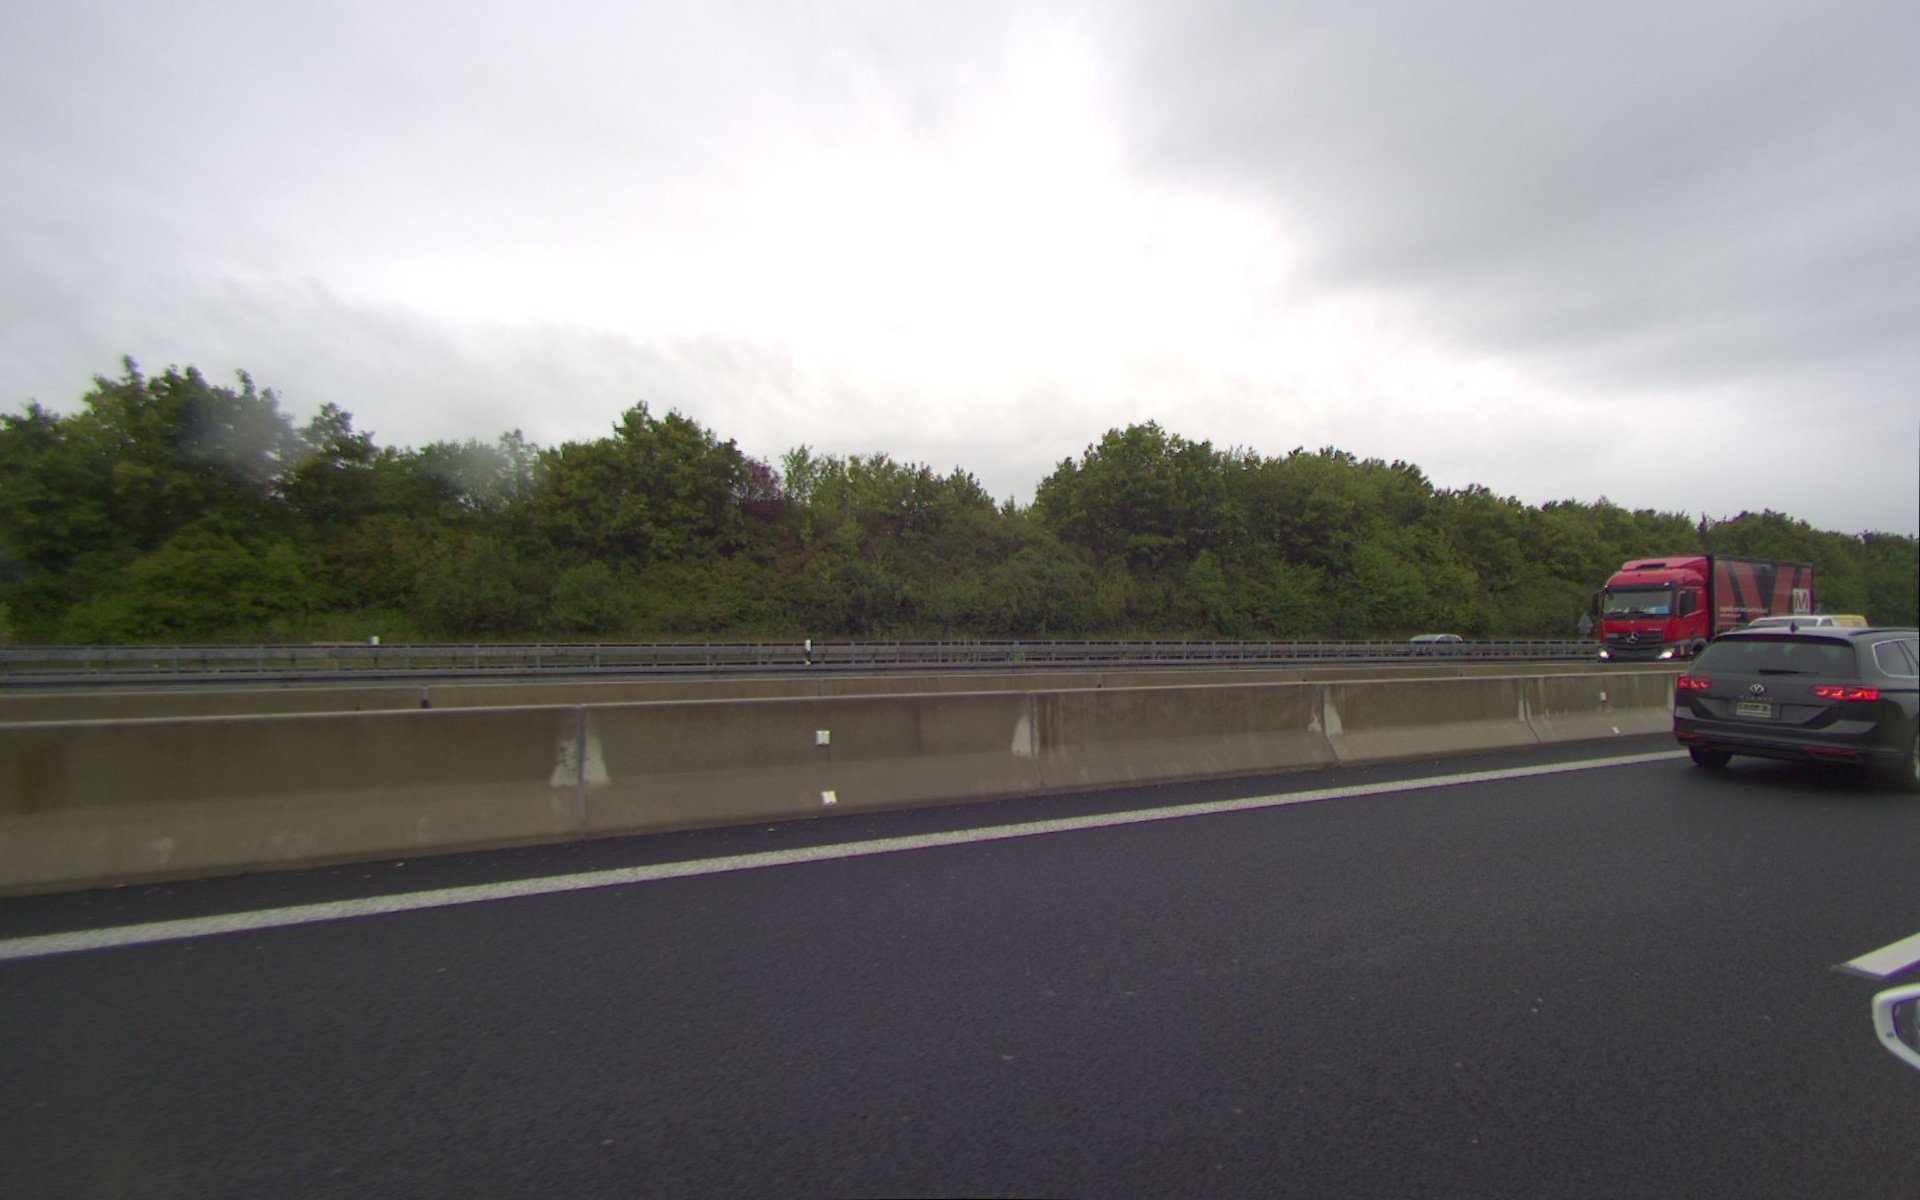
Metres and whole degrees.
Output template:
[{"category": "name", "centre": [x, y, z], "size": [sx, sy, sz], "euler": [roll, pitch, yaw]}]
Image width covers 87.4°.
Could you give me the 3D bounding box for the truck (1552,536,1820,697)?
[{"category": "truck", "centre": [24.740, 0.579, 34.009], "size": [10.360, 4.796, 3.384], "euler": [1, 0, -30]}]

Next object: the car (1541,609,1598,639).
[{"category": "car", "centre": [42.335, 1.666, 69.764], "size": [3.952, 2.040, 1.742], "euler": [1, -1, -30]}]

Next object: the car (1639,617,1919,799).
[{"category": "car", "centre": [9.177, 0.959, 10.264], "size": [4.744, 1.478, 1.779], "euler": [1, 0, -29]}]

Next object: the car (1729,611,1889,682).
[{"category": "car", "centre": [24.450, 1.326, 28.883], "size": [5.162, 1.887, 1.984], "euler": [1, -3, -31]}]

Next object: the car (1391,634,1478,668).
[{"category": "car", "centre": [20.933, 2.235, 44.301], "size": [3.953, 1.416, 1.515], "euler": [1, -1, -30]}]
